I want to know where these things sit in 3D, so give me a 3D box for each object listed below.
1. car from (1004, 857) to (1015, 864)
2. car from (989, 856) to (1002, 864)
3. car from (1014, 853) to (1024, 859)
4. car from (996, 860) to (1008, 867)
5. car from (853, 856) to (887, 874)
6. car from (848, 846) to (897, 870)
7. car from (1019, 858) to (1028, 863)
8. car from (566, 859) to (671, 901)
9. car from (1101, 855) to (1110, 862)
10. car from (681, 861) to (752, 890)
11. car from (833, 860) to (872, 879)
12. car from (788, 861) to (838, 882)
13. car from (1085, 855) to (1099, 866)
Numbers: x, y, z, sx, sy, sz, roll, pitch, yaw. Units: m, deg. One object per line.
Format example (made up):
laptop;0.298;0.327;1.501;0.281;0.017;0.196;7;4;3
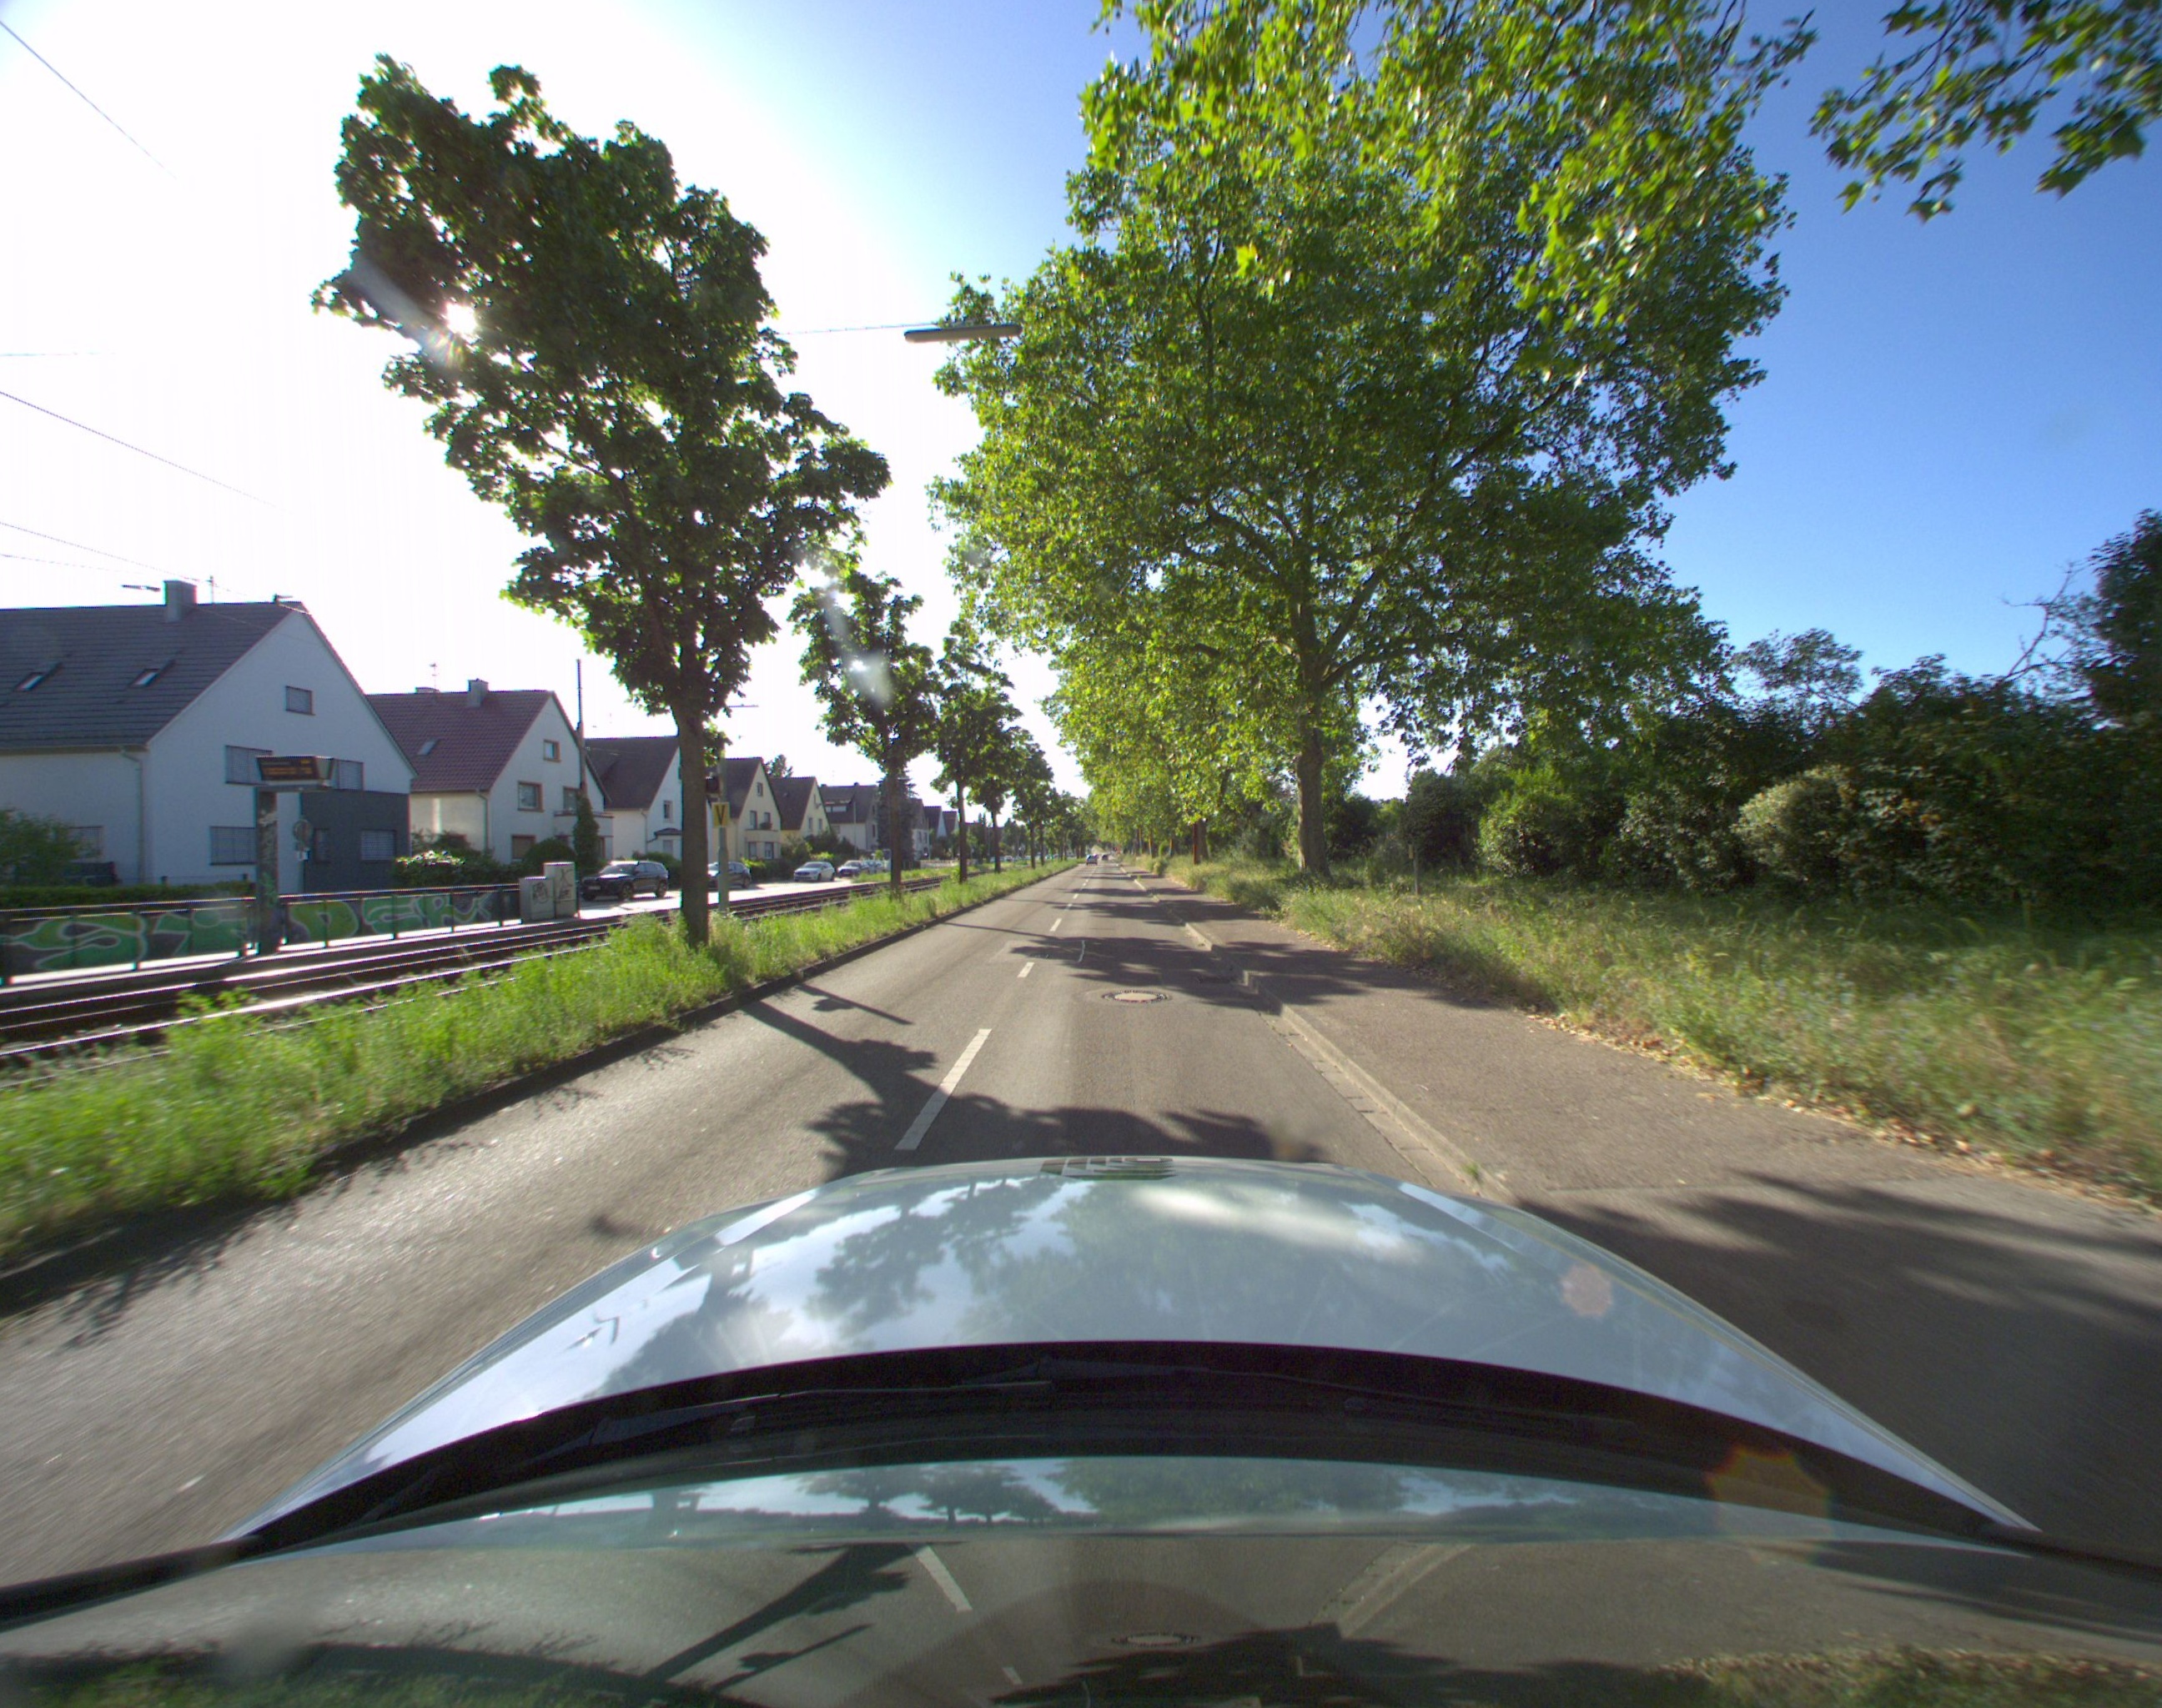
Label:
car;-15.565;1.410;177.235;1.741;1.650;4.556;0;0;1
car;-16.426;1.085;156.709;1.853;1.542;4.229;0;0;1
car;-14.904;0.527;196.354;1.853;1.369;4.229;0;0;1
car;-16.072;1.973;165.612;1.723;1.466;4.603;0;0;1
car;-18.858;0.987;72.926;1.939;1.553;4.058;0;0;1
car;-23.984;0.464;93.944;5.010;2.625;2.103;-1;0;1
car;-15.130;1.695;214.955;1.853;1.413;4.159;0;0;1
car;-20.241;1.076;35.873;1.986;1.713;4.392;0;0;2
car;5.630;0.984;189.718;1.986;1.603;4.474;0;0;1
car;-19.977;1.130;44.825;1.919;1.495;4.257;0;0;2
car;-19.024;1.259;67.978;1.986;1.450;4.129;2;0;2
car;-19.409;1.232;59.224;1.985;1.426;4.414;0;0;3
car;1.578;0.885;116.418;1.853;1.601;4.229;0;0;1
